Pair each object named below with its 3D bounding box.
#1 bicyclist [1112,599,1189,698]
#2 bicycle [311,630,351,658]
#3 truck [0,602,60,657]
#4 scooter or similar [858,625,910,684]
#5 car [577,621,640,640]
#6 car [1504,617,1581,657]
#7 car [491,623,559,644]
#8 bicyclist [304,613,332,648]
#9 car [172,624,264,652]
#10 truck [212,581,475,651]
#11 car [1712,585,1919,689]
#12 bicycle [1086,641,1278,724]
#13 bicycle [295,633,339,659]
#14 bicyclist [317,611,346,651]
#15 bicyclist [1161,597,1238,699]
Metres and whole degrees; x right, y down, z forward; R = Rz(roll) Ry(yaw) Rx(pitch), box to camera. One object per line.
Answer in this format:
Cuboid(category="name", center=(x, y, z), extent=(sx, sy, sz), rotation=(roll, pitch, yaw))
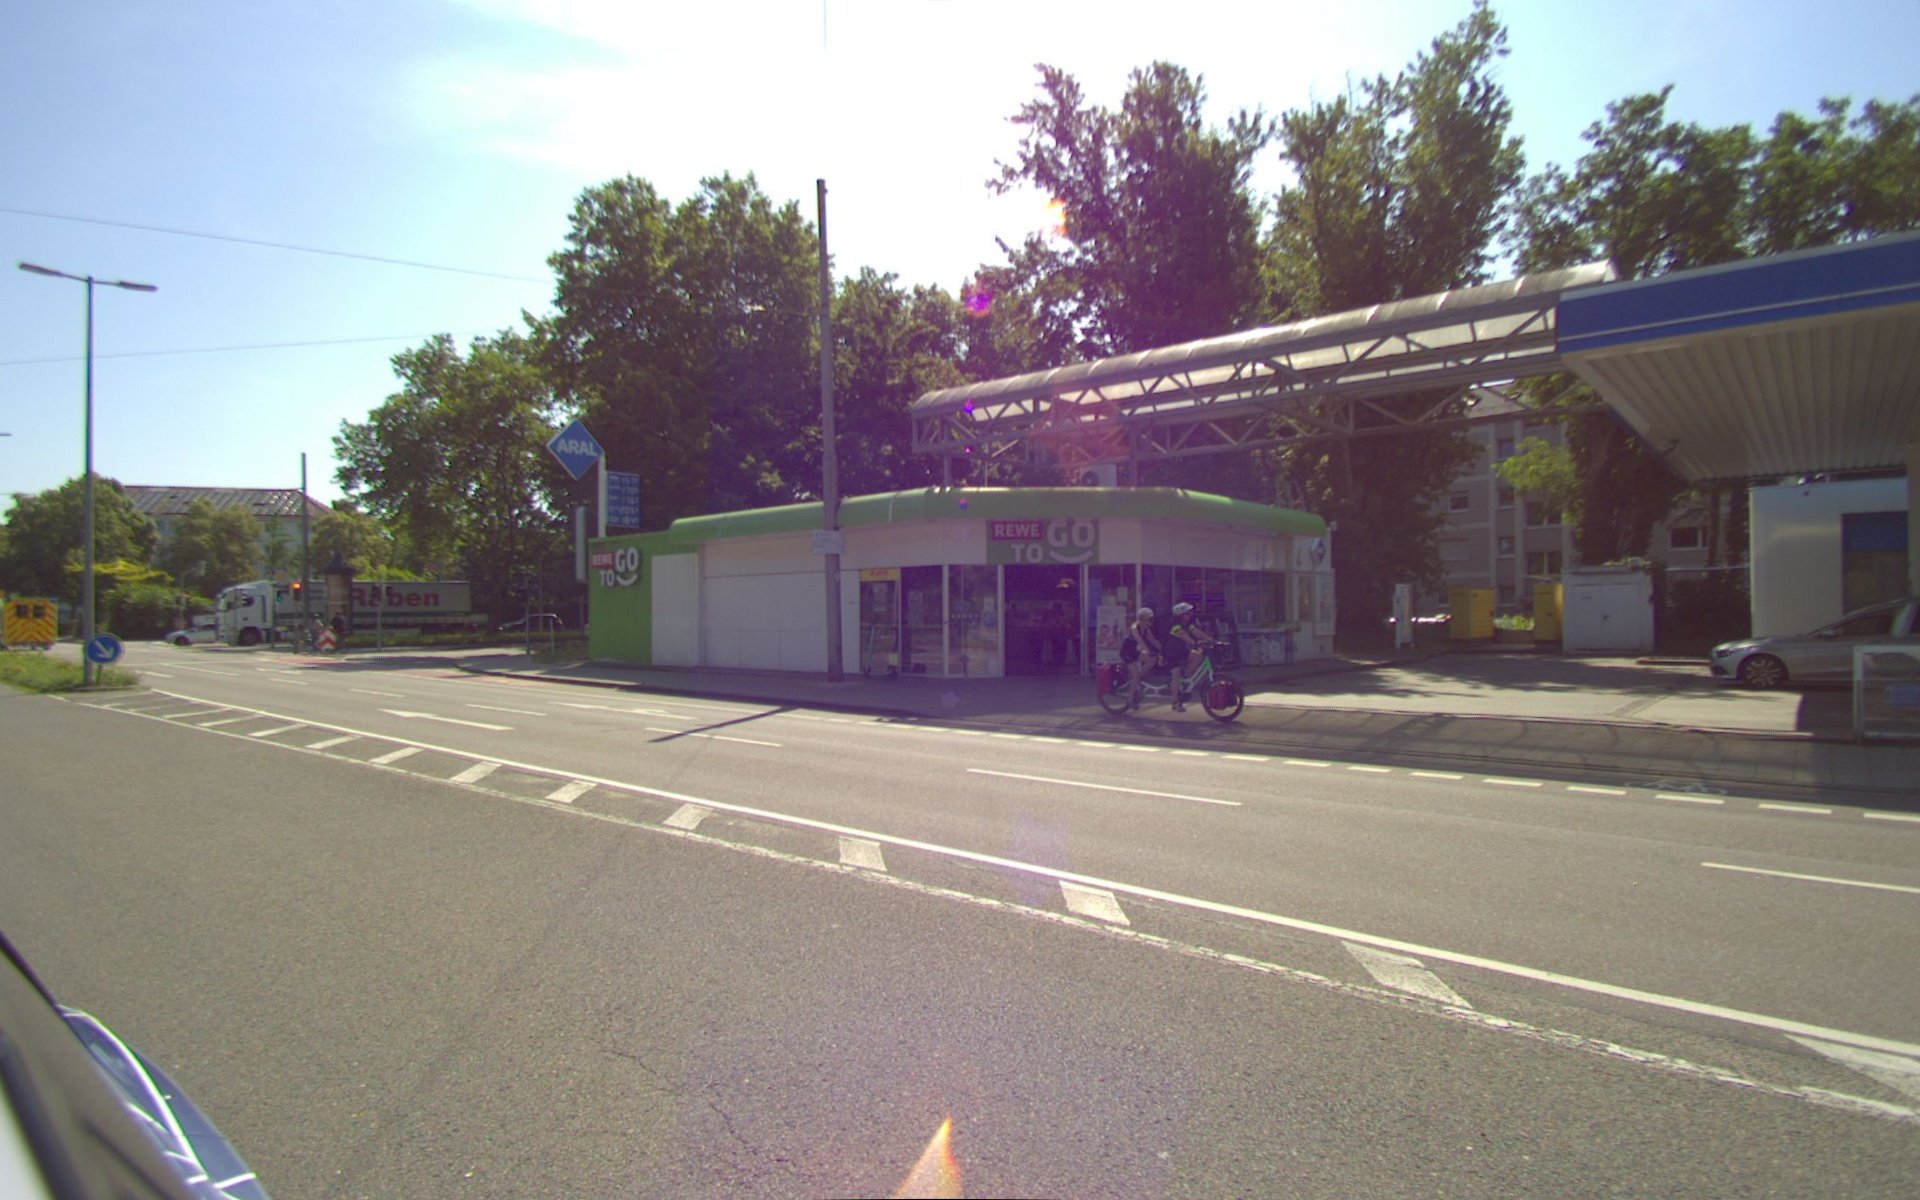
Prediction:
Cuboid(category="bicyclist", center=(2.921, 0.731, 15.487), extent=(0.831, 1.446, 0.839), rotation=(-3, -2, 37))
Cuboid(category="bicycle", center=(-27.443, 1.908, 44.115), extent=(2.210, 1.184, 0.927), rotation=(-2, -2, 42))
Cuboid(category="truck", center=(-49.040, 1.538, 52.603), extent=(7.352, 2.688, 2.307), rotation=(-2, -2, 40))
Cuboid(category="scooter or similar", center=(-1.666, 1.169, 22.094), extent=(0.436, 1.247, 1.348), rotation=(1, -2, -40))
Cuboid(category="car", center=(-27.749, 2.397, 79.990), extent=(4.304, 1.379, 1.758), rotation=(-1, -2, -42))
Cuboid(category="car", center=(22.137, 1.402, 38.432), extent=(1.745, 1.347, 3.636), rotation=(-4, -2, 42))
Cuboid(category="car", center=(-32.366, 2.454, 75.332), extent=(4.304, 1.379, 1.758), rotation=(-1, -2, -42))
Cuboid(category="bicyclist", center=(-26.663, 1.272, 42.026), extent=(0.737, 1.431, 0.702), rotation=(-3, -2, 32))
Cuboid(category="car", center=(-46.634, 2.383, 63.671), extent=(4.322, 1.522, 1.762), rotation=(-2, -2, -19))
Cuboid(category="truck", center=(-38.904, 1.006, 64.664), extent=(14.090, 4.038, 2.857), rotation=(1, -2, -44))
Cuboid(category="car", center=(17.226, 0.649, 18.095), extent=(5.959, 1.795, 1.825), rotation=(-2, -2, 40))
Cuboid(category="bicycle", center=(3.274, 1.192, 15.204), extent=(2.771, 1.103, 0.816), rotation=(-1, -2, 41))
Cuboid(category="bicycle", center=(-26.781, 1.918, 42.141), extent=(2.068, 1.066, 0.745), rotation=(-1, -1, 32))
Cuboid(category="bicyclist", center=(-27.345, 1.358, 44.020), extent=(0.826, 1.687, 0.827), rotation=(-4, -2, 40))
Cuboid(category="bicyclist", center=(3.554, 0.695, 15.000), extent=(0.831, 1.446, 0.839), rotation=(-2, -1, 38))
